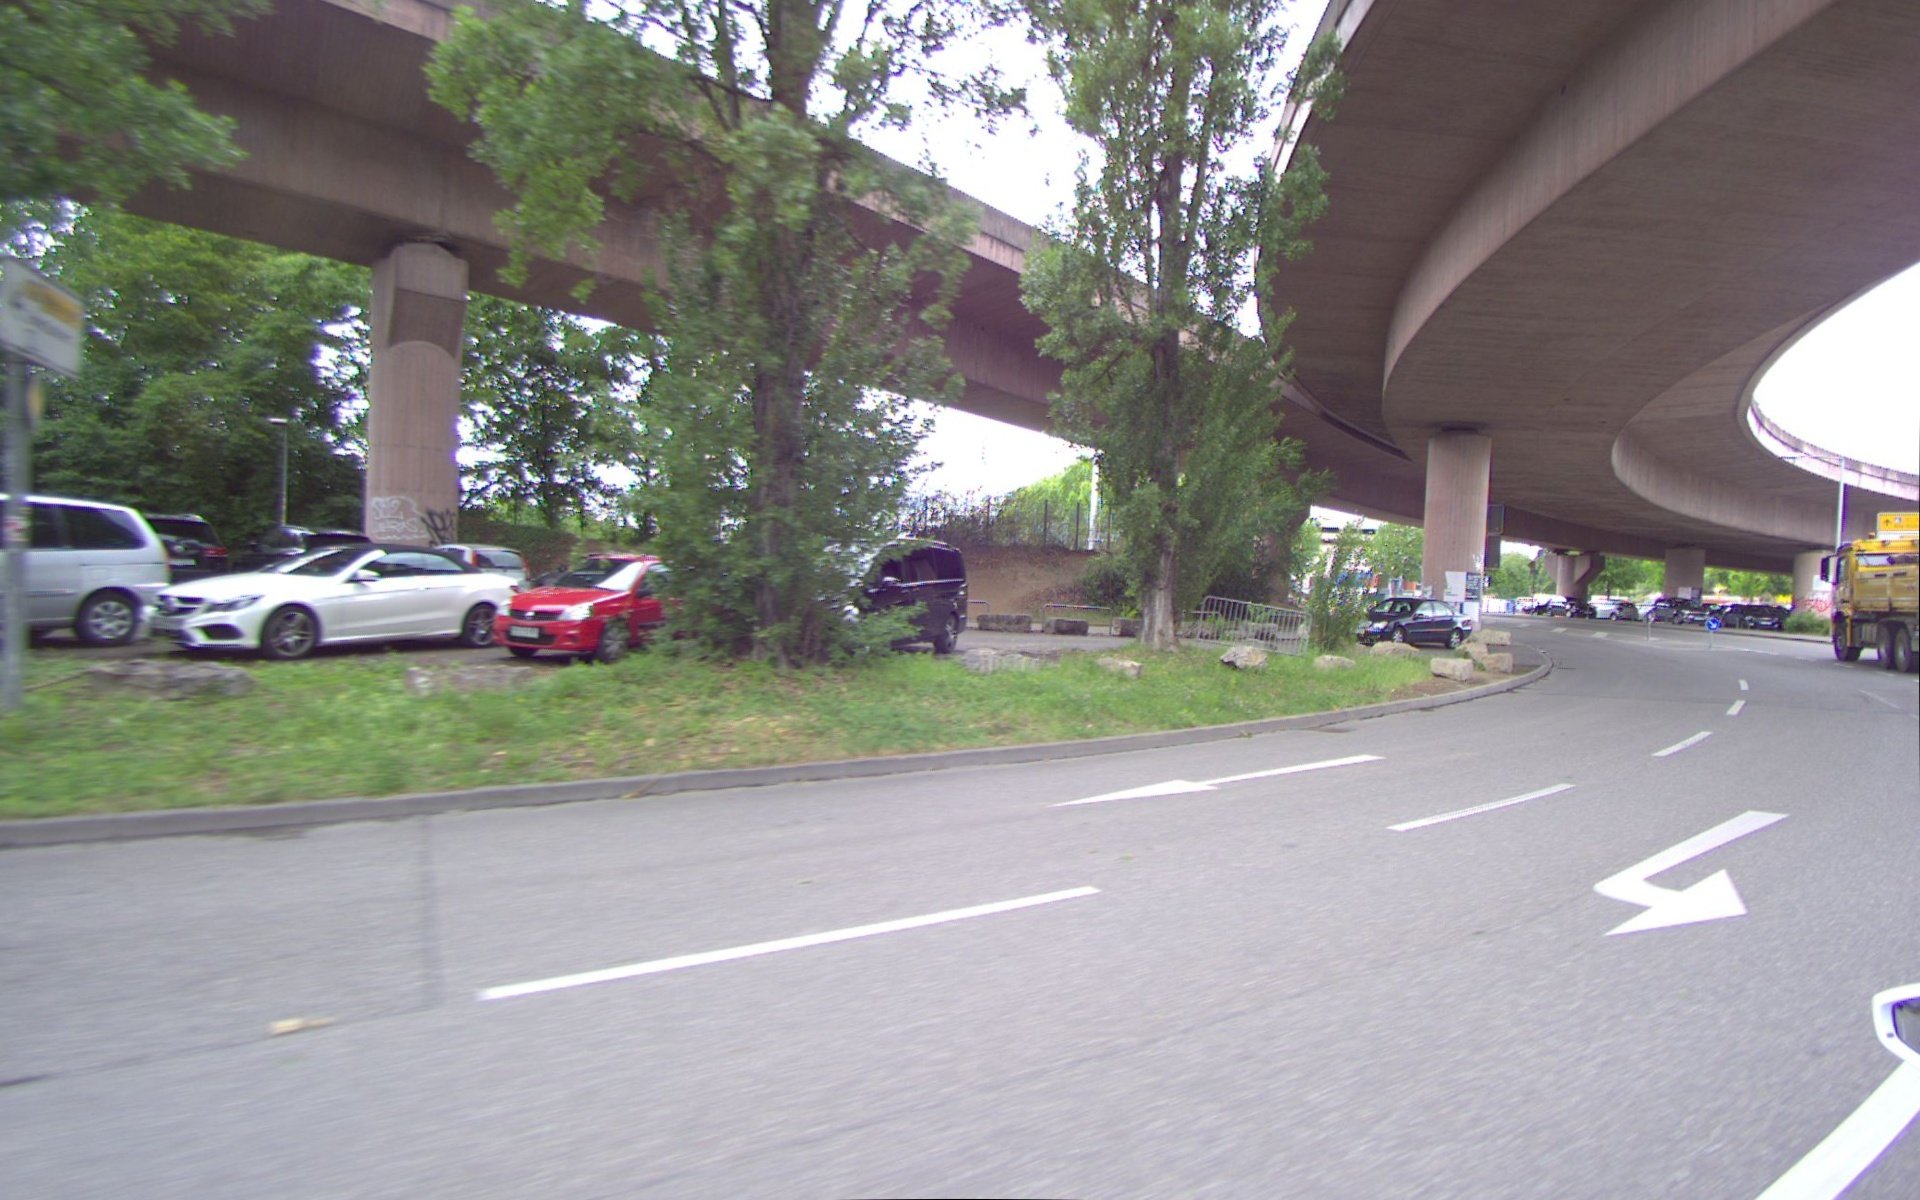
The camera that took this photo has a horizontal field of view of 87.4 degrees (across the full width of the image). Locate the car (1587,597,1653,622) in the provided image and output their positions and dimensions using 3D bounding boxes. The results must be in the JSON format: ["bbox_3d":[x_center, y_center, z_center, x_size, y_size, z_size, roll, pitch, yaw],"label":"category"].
[{"bbox_3d":[47.419,0.658,72.241,1.609,1.573,4.004,2,1,-9],"label":"car"}]

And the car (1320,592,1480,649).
[{"bbox_3d":[12.933,0.617,29.474,4.718,1.450,1.813,1,3,-30],"label":"car"}]

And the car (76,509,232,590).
[{"bbox_3d":[-16.239,-1.021,20.220,2.922,1.506,1.318,3,1,26],"label":"car"}]

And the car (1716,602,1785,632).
[{"bbox_3d":[45.494,0.966,57.912,1.755,1.526,3.860,4,0,17],"label":"car"}]

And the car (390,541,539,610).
[{"bbox_3d":[-11.018,-0.552,22.279,3.364,1.407,1.372,3,1,32],"label":"car"}]

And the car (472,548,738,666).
[{"bbox_3d":[-4.824,0.084,14.200,1.534,1.398,3.705,2,0,19],"label":"car"}]

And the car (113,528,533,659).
[{"bbox_3d":[-7.970,-0.070,13.152,1.663,1.382,4.515,2,0,21],"label":"car"}]

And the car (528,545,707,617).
[{"bbox_3d":[-7.988,-0.446,23.396,3.797,1.484,1.741,3,1,26],"label":"car"}]

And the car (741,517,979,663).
[{"bbox_3d":[-1.371,-0.140,16.216,1.820,1.943,4.973,2,0,19],"label":"car"}]

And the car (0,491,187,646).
[{"bbox_3d":[-11.396,-0.381,10.816,1.663,1.696,4.678,2,0,19],"label":"car"}]

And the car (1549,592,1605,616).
[{"bbox_3d":[40.606,0.217,66.219,1.579,1.416,3.580,4,1,4],"label":"car"}]

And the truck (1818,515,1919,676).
[{"bbox_3d":[25.197,-0.110,26.225,2.717,3.748,7.866,0,0,29],"label":"truck"}]

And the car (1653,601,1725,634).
[{"bbox_3d":[40.014,0.934,55.210,1.579,1.554,3.411,4,1,4],"label":"car"}]

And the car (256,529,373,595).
[{"bbox_3d":[-13.660,-0.803,21.205,2.934,1.251,1.313,3,1,41],"label":"car"}]
